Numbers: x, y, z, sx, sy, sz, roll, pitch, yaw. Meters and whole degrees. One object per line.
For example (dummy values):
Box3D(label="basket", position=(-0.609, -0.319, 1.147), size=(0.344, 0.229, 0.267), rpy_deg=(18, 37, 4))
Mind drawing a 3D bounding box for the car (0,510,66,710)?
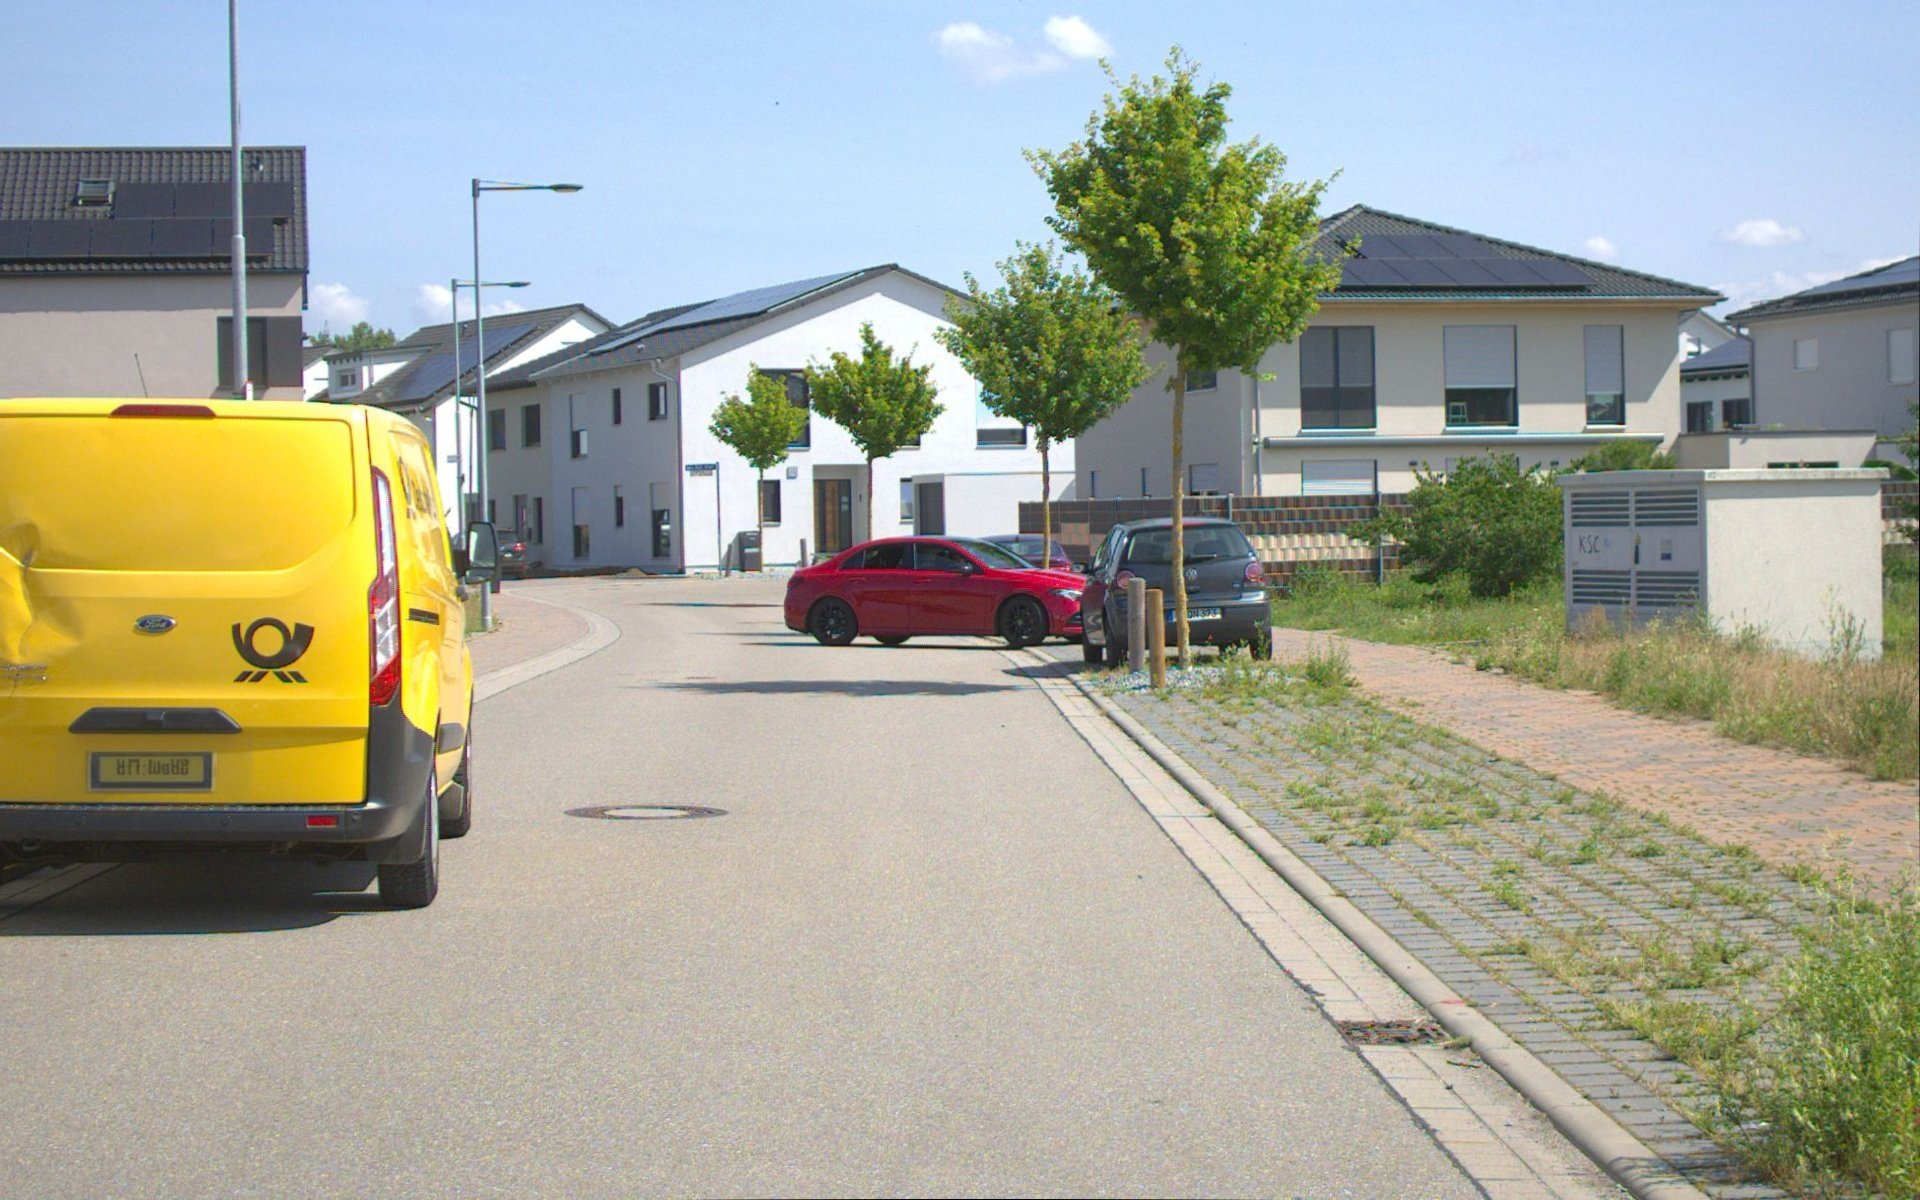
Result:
Box3D(label="car", position=(-8.843, 0.054, 25.275), size=(4.391, 1.447, 1.750), rpy_deg=(0, 1, -14))

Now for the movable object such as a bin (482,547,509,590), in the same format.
Box3D(label="movable object such as a bin", position=(-10.224, -0.701, 75.695), size=(0.534, 0.932, 0.526), rpy_deg=(1, 1, -1))

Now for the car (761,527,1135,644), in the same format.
Box3D(label="car", position=(-0.173, -0.221, 44.205), size=(4.511, 1.433, 1.766), rpy_deg=(1, 1, 28))

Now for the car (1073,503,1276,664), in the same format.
Box3D(label="car", position=(2.116, -0.202, 34.790), size=(1.598, 1.470, 3.675), rpy_deg=(-3, 1, -3))

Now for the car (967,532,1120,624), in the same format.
Box3D(label="car", position=(1.256, -0.378, 53.799), size=(1.754, 1.358, 4.577), rpy_deg=(0, 1, -7))

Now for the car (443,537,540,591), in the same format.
Box3D(label="car", position=(-13.024, -1.016, 95.427), size=(1.726, 1.418, 4.001), rpy_deg=(-2, 2, -21))

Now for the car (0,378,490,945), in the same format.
Box3D(label="car", position=(-3.145, 0.186, 15.013), size=(1.883, 2.007, 4.842), rpy_deg=(-3, 1, -5))
